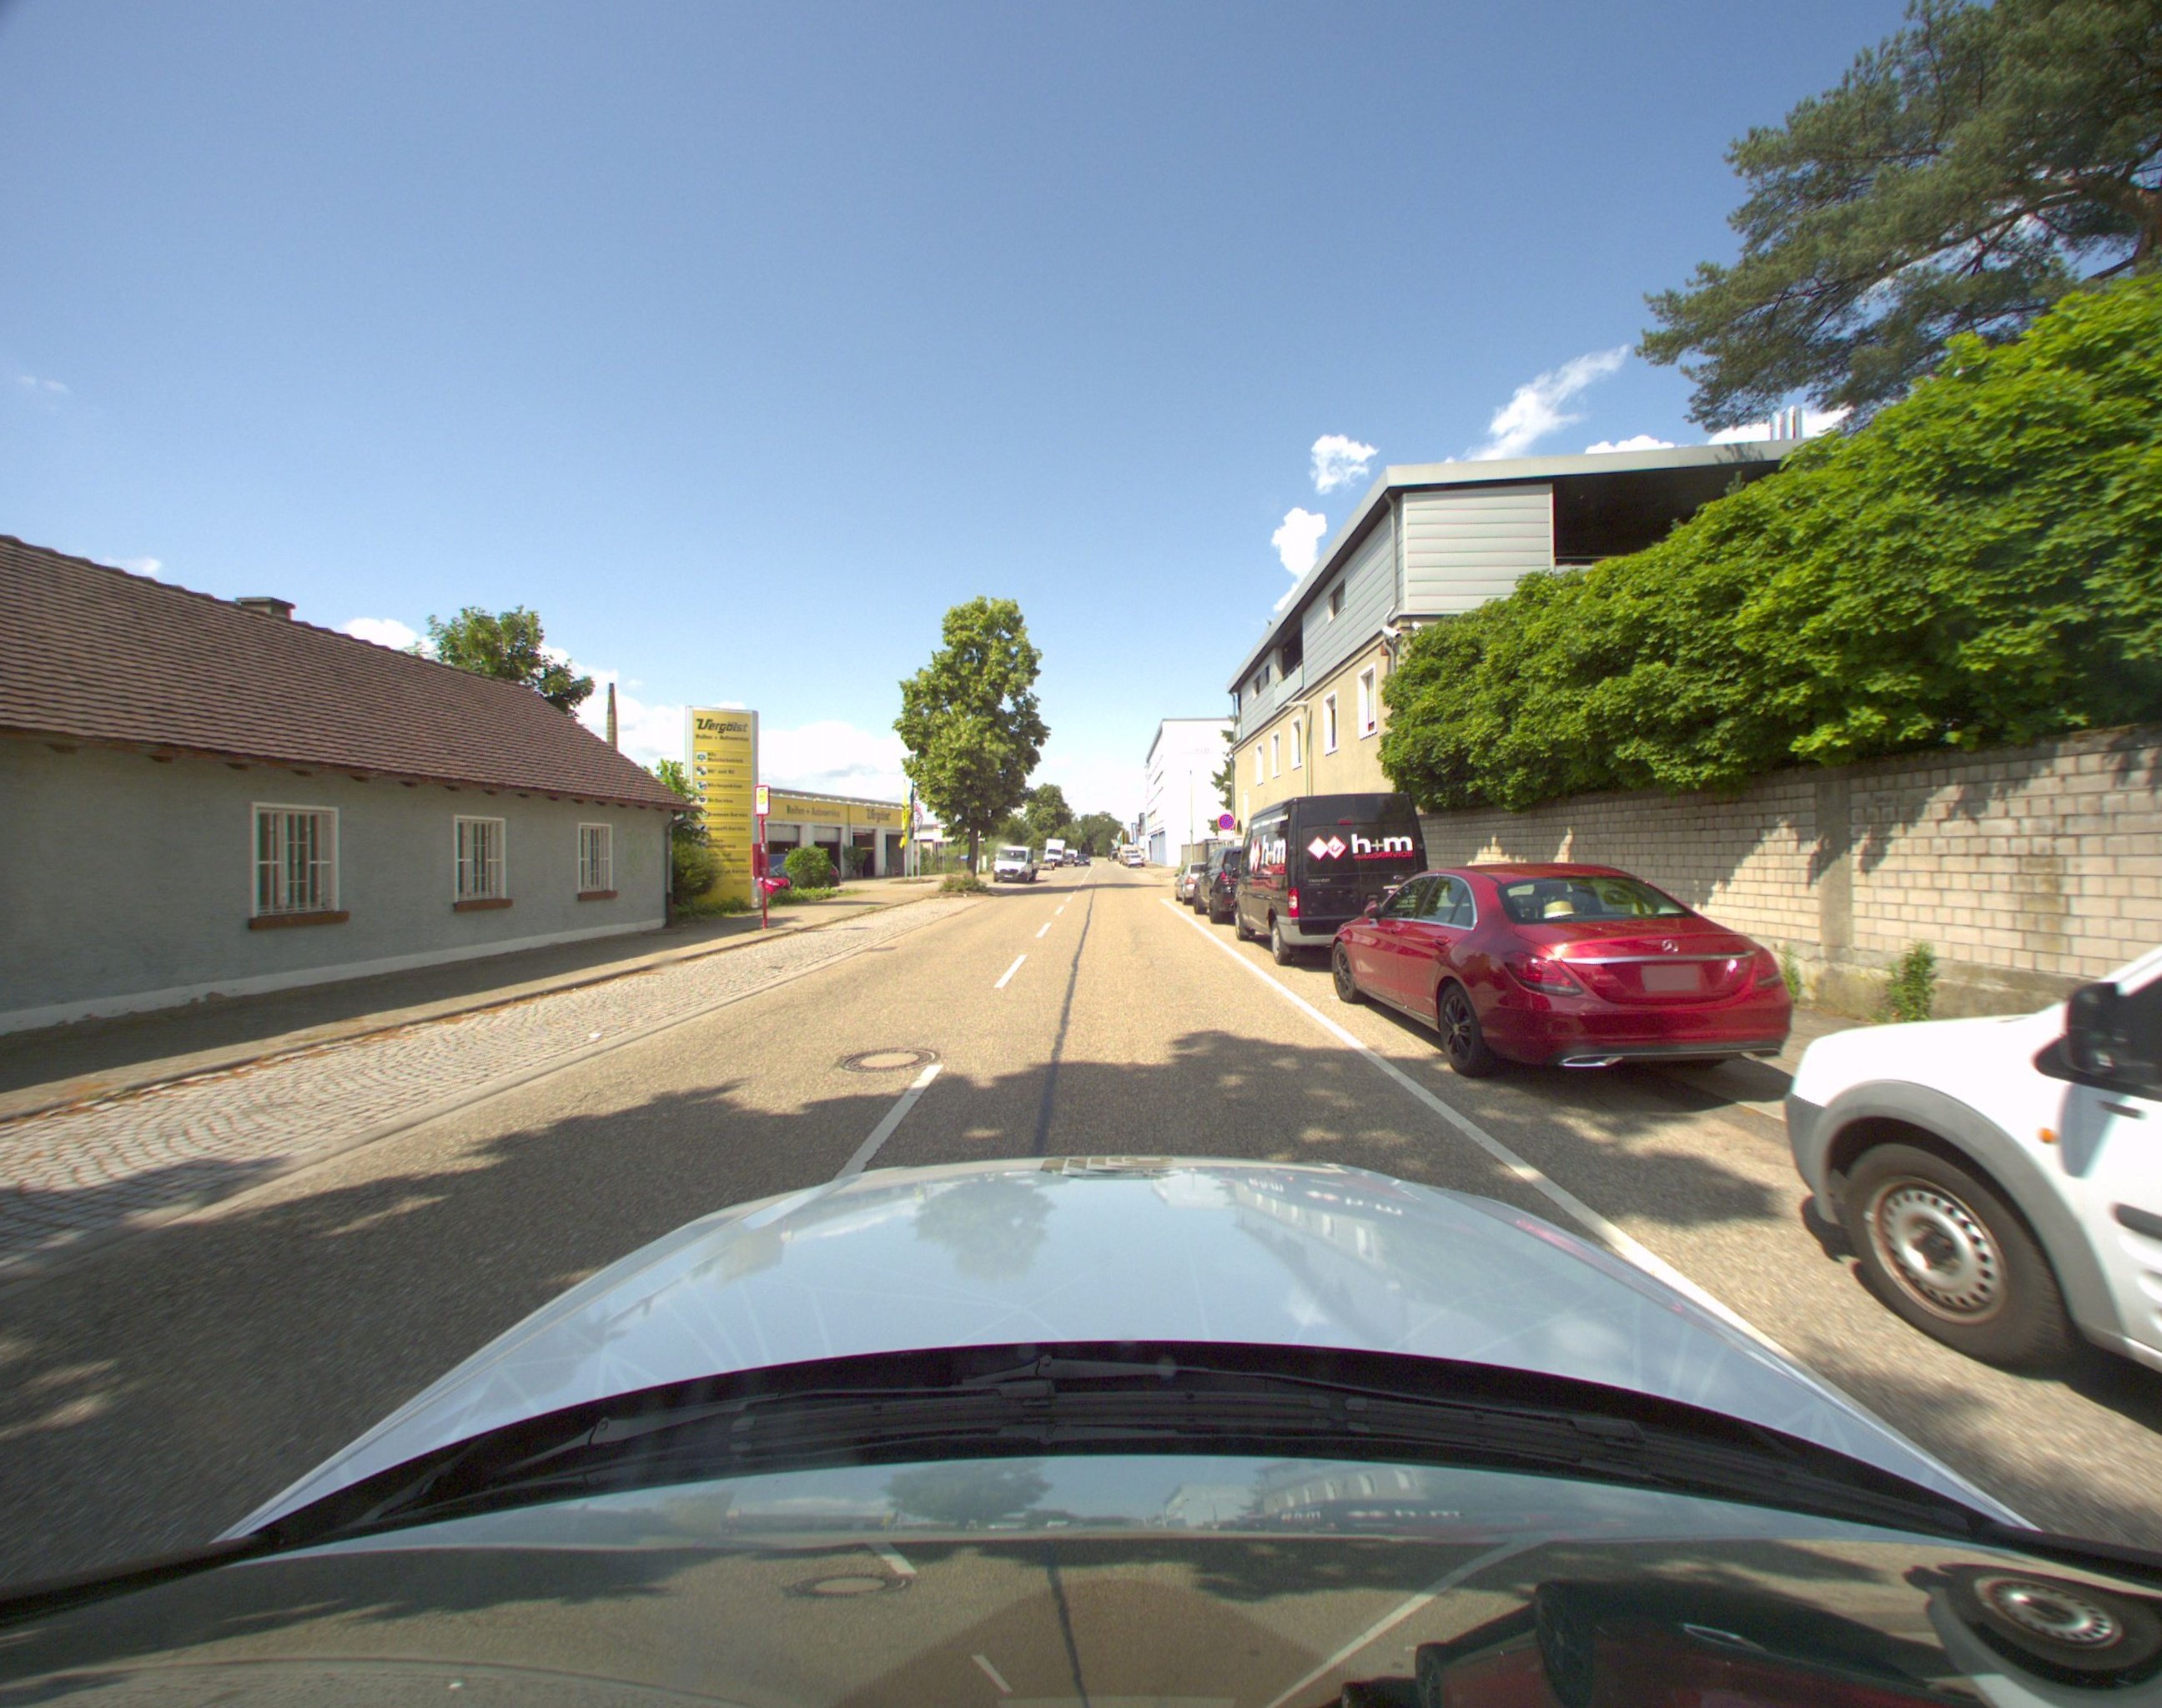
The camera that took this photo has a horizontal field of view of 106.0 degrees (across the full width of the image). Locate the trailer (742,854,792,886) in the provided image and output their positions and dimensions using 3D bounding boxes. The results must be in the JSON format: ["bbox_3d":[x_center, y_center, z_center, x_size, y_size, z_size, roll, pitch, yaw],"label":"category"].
[{"bbox_3d":[-16.588,0.834,43.078,1.359,1.649,2.215,-1,0,16],"label":"trailer"}]

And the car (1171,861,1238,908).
[{"bbox_3d":[3.896,0.921,26.222,1.623,1.353,3.925,-1,0,1],"label":"car"}]

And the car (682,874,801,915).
[{"bbox_3d":[-12.782,1.503,30.724,3.809,1.422,1.737,-1,0,13],"label":"car"}]

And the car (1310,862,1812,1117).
[{"bbox_3d":[3.446,0.807,7.099,1.675,1.442,4.768,0,0,2],"label":"car"}]

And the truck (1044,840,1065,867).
[{"bbox_3d":[-3.109,-0.071,97.164,2.022,3.154,6.502,-1,0,2],"label":"truck"}]

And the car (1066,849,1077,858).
[{"bbox_3d":[-2.052,-0.134,175.475,1.986,1.816,4.002,-1,0,2],"label":"car"}]

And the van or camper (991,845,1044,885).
[{"bbox_3d":[-4.004,0.652,52.935,2.163,2.413,7.707,-1,0,5],"label":"van or camper"}]

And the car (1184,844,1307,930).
[{"bbox_3d":[3.755,0.702,19.508,1.954,1.780,4.954,1,0,0],"label":"car"}]

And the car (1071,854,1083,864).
[{"bbox_3d":[-0.653,0.810,136.750,1.707,1.650,4.001,-1,0,1],"label":"car"}]

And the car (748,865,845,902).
[{"bbox_3d":[-12.206,1.243,35.157,3.798,1.377,1.868,-2,0,-18],"label":"car"}]

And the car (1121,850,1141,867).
[{"bbox_3d":[6.039,0.541,98.866,2.208,2.013,5.487,-1,0,2],"label":"car"}]

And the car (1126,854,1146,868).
[{"bbox_3d":[5.717,0.716,84.912,1.921,1.310,4.001,-1,0,1],"label":"car"}]

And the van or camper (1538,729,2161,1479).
[{"bbox_3d":[3.478,0.601,2.017,1.752,1.805,5.590,0,0,2],"label":"van or camper"}]

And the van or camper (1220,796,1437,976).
[{"bbox_3d":[3.648,0.417,13.182,1.986,2.291,5.449,1,0,2],"label":"van or camper"}]

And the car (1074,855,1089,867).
[{"bbox_3d":[0.102,0.850,98.063,1.648,1.324,4.418,-1,0,2],"label":"car"}]

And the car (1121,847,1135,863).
[{"bbox_3d":[6.267,0.083,109.269,1.701,2.090,4.001,-1,0,1],"label":"car"}]

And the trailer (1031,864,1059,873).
[{"bbox_3d":[-3.591,1.454,82.937,2.408,0.813,5.540,1,0,2],"label":"trailer"}]
